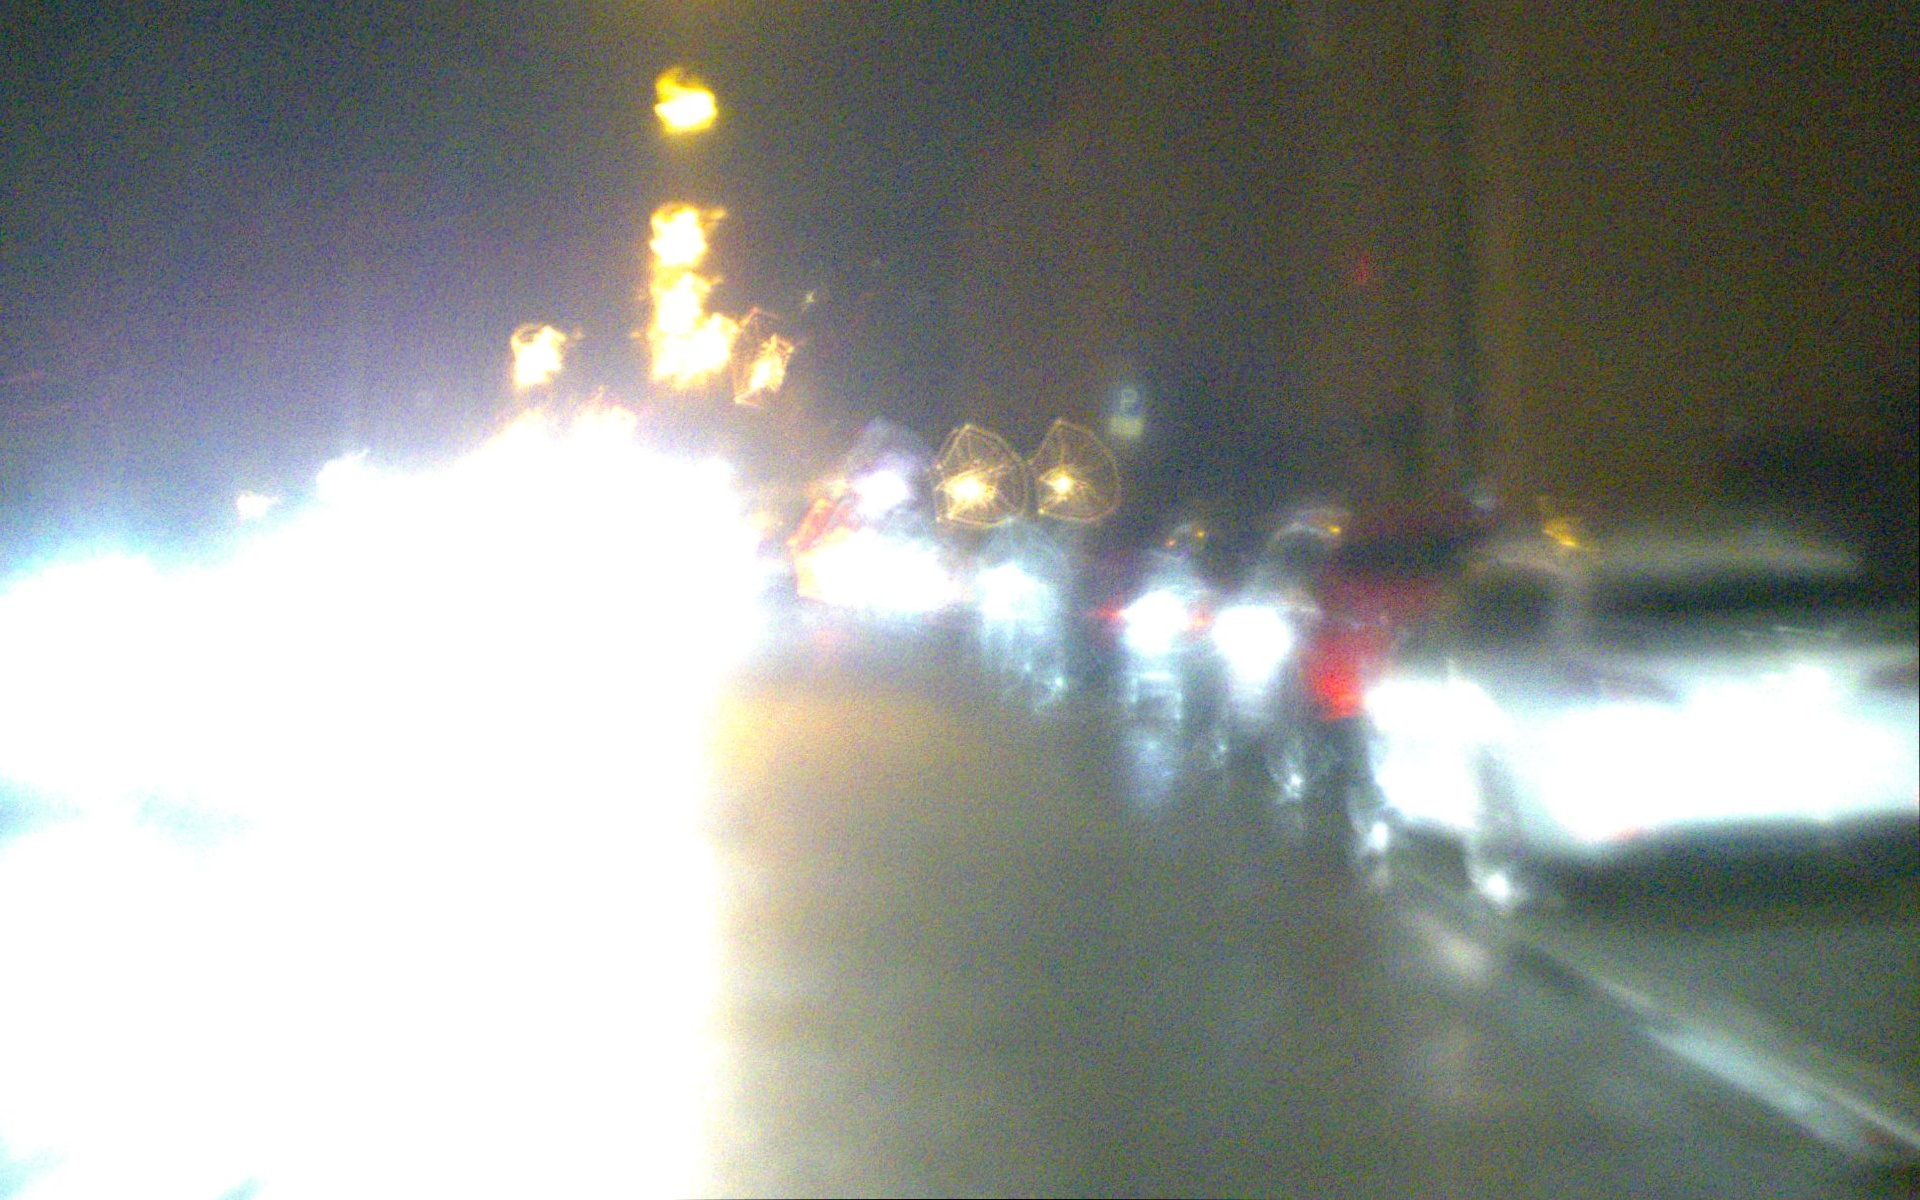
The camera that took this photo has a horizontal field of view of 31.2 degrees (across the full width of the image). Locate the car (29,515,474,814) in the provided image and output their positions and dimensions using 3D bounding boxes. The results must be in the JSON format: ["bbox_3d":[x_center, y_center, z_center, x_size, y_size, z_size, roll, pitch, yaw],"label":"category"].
[{"bbox_3d":[-3.861,0.273,19.468,1.796,1.456,4.579,1,1,-3],"label":"car"}]

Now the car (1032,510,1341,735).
[{"bbox_3d":[1.683,0.106,26.892,1.754,1.523,4.154,-3,2,-4],"label":"car"}]

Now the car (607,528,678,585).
[{"bbox_3d":[-8.508,-1.181,92.066,1.820,1.458,4.867,0,1,-5],"label":"car"}]

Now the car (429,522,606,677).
[{"bbox_3d":[-4.455,-0.028,34.896,1.547,1.494,2.793,1,1,-3],"label":"car"}]

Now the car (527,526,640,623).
[{"bbox_3d":[-6.088,-0.406,55.653,1.675,1.430,4.513,-3,0,-6],"label":"car"}]

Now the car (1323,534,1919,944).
[{"bbox_3d":[2.850,0.481,15.087,1.713,1.483,4.437,-2,1,-4],"label":"car"}]

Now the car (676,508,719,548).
[{"bbox_3d":[-11.717,-3.229,153.403,1.812,1.704,3.805,-2,2,-5],"label":"car"}]

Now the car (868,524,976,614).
[{"bbox_3d":[-0.666,-0.553,58.098,1.495,1.383,3.748,-3,2,-5],"label":"car"}]

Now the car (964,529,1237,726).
[{"bbox_3d":[1.234,0.187,32.206,1.880,1.567,4.529,-3,2,-5],"label":"car"}]

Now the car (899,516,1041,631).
[{"bbox_3d":[0.094,-0.408,48.263,1.628,1.461,4.511,-3,2,-4],"label":"car"}]

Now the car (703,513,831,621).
[{"bbox_3d":[-3.111,-0.544,55.458,1.993,1.678,4.001,0,1,-3],"label":"car"}]

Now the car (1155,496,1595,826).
[{"bbox_3d":[2.392,0.269,20.854,1.713,1.702,4.188,-3,2,-5],"label":"car"}]

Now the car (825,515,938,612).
[{"bbox_3d":[-1.502,-0.706,64.335,1.820,1.668,4.001,-2,2,-5],"label":"car"}]
